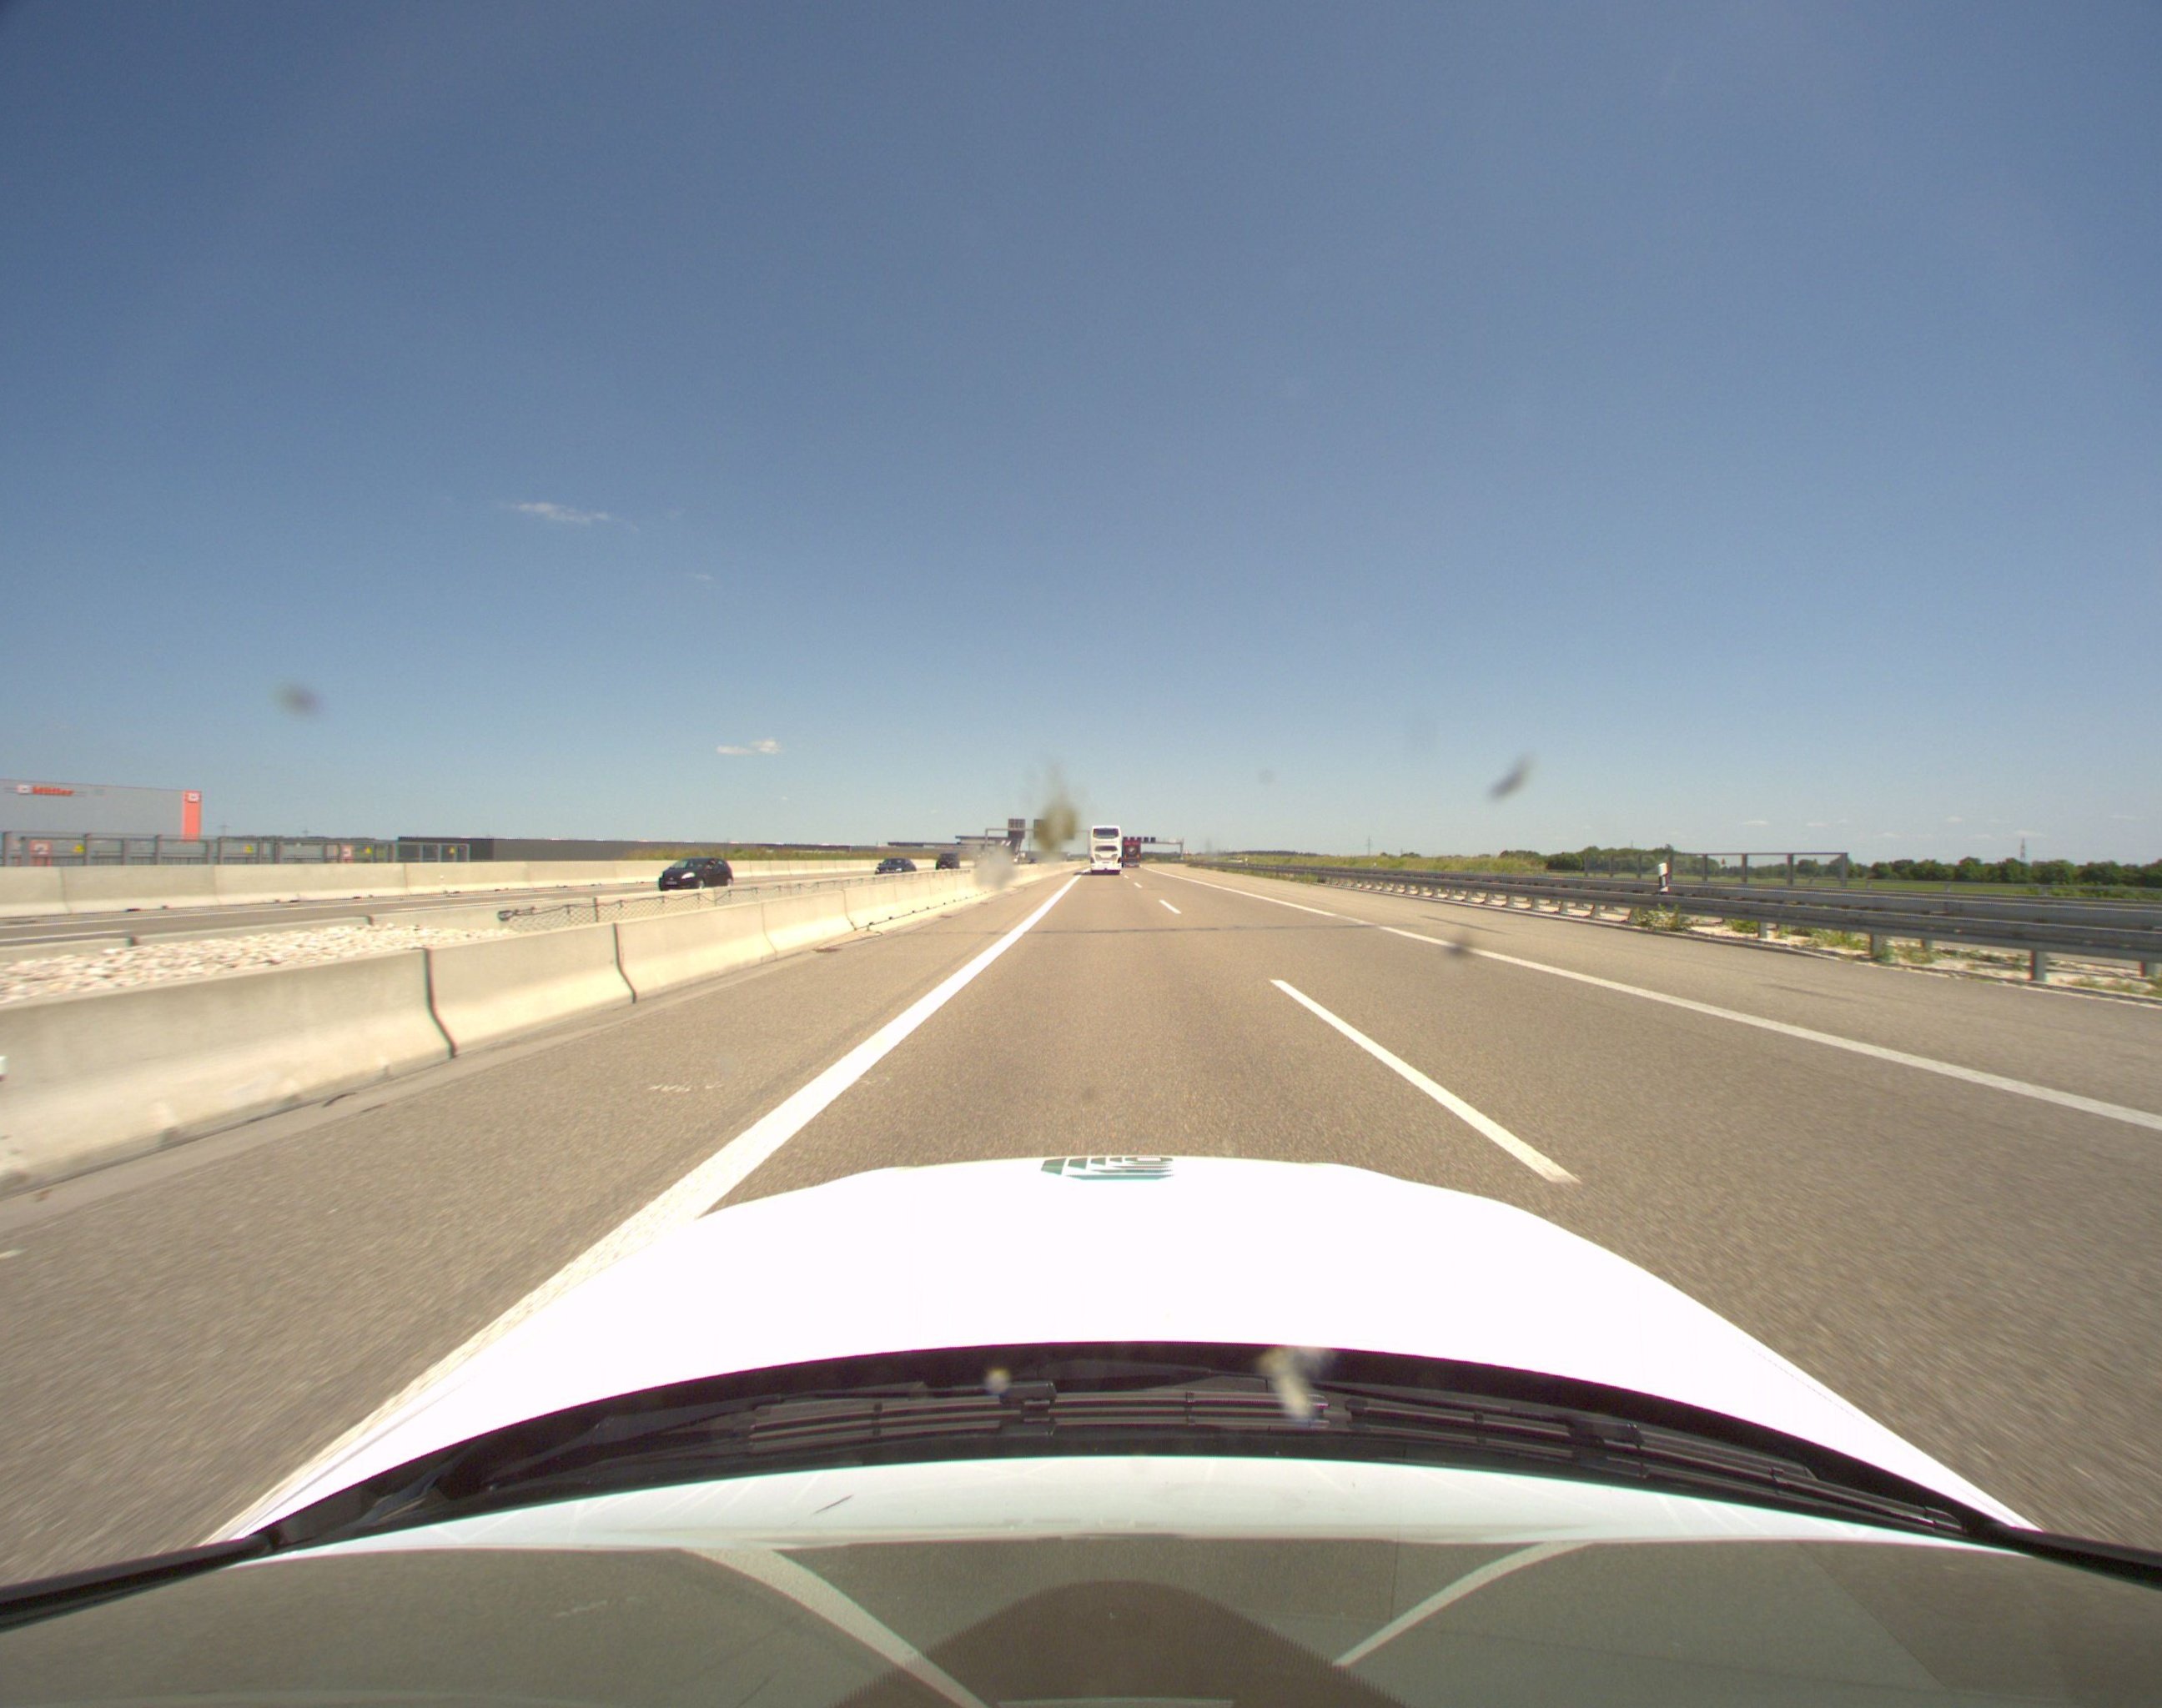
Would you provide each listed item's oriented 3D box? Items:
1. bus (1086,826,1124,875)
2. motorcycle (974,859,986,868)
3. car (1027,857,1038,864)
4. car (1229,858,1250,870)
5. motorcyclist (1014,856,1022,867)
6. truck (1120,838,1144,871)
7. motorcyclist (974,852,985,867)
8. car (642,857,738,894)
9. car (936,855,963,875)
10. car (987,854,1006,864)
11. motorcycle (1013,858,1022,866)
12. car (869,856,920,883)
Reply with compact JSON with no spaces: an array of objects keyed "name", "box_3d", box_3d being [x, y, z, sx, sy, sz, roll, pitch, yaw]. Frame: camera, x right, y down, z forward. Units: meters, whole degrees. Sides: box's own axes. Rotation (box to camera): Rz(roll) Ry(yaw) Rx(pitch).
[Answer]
[{"name":"bus","box_3d":[2.026,-0.325,70.179,2.970,3.975,9.107,0,0,1]},{"name":"motorcycle","box_3d":[-10.460,0.965,84.328,0.772,0.902,2.707,0,0,3]},{"name":"car","box_3d":[-10.571,1.416,176.773,1.986,1.379,4.364,0,0,1]},{"name":"car","box_3d":[20.062,1.244,103.506,1.884,1.529,4.262,0,0,0]},{"name":"motorcyclist","box_3d":[-9.128,1.054,117.721,0.916,1.621,1.089,0,0,2]},{"name":"truck","box_3d":[7.721,0.224,122.082,3.364,4.464,13.579,0,-2,4]},{"name":"motorcyclist","box_3d":[-10.475,0.588,84.066,0.914,1.497,0.924,0,0,2]},{"name":"car","box_3d":[-16.522,0.872,34.662,1.903,1.459,4.285,0,0,1]},{"name":"car","box_3d":[-13.892,1.112,86.237,1.877,2.017,4.738,0,0,3]},{"name":"car","box_3d":[-12.842,0.741,123.933,1.860,1.491,5.144,-1,-1,4]},{"name":"motorcycle","box_3d":[-9.126,1.195,117.814,0.954,1.169,2.724,0,0,2]},{"name":"car","box_3d":[-11.824,0.946,51.914,1.986,1.669,4.651,0,0,2]}]
